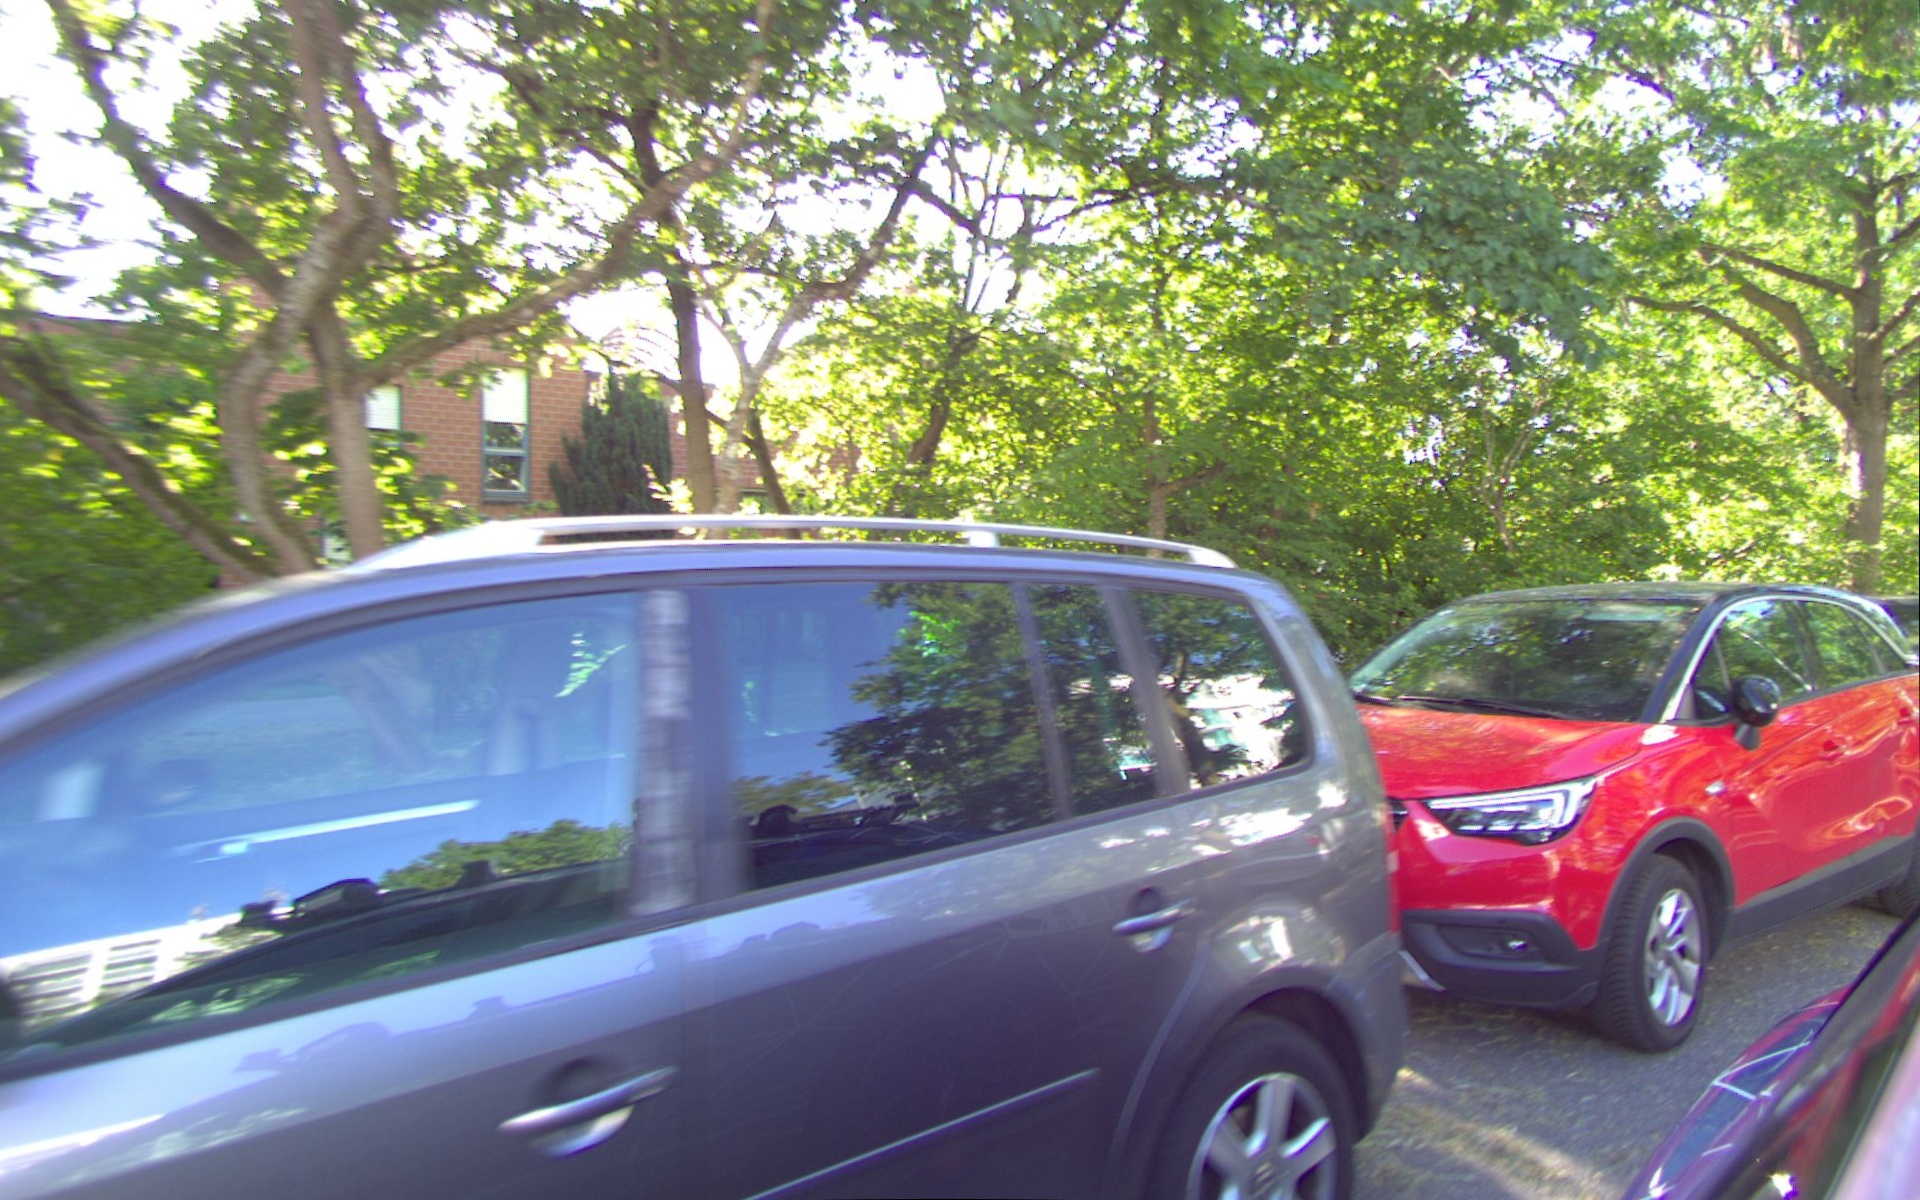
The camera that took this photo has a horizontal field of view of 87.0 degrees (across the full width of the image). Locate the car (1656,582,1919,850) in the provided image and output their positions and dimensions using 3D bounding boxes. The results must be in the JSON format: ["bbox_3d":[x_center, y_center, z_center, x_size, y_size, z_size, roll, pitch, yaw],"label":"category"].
[{"bbox_3d":[6.895,0.653,7.300,4.070,1.528,1.717,0,-1,-34],"label":"car"}]

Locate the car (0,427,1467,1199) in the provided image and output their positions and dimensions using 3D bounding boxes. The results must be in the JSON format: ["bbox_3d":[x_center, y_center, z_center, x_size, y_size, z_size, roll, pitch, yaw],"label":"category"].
[{"bbox_3d":[-1.008,0.653,1.957,4.056,1.642,1.685,0,-1,-32],"label":"car"}]

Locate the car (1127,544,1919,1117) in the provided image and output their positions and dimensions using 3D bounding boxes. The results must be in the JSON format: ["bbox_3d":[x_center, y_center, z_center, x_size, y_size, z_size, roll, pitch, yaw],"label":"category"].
[{"bbox_3d":[2.855,0.631,4.562,3.985,1.594,1.685,0,-1,-30],"label":"car"}]
